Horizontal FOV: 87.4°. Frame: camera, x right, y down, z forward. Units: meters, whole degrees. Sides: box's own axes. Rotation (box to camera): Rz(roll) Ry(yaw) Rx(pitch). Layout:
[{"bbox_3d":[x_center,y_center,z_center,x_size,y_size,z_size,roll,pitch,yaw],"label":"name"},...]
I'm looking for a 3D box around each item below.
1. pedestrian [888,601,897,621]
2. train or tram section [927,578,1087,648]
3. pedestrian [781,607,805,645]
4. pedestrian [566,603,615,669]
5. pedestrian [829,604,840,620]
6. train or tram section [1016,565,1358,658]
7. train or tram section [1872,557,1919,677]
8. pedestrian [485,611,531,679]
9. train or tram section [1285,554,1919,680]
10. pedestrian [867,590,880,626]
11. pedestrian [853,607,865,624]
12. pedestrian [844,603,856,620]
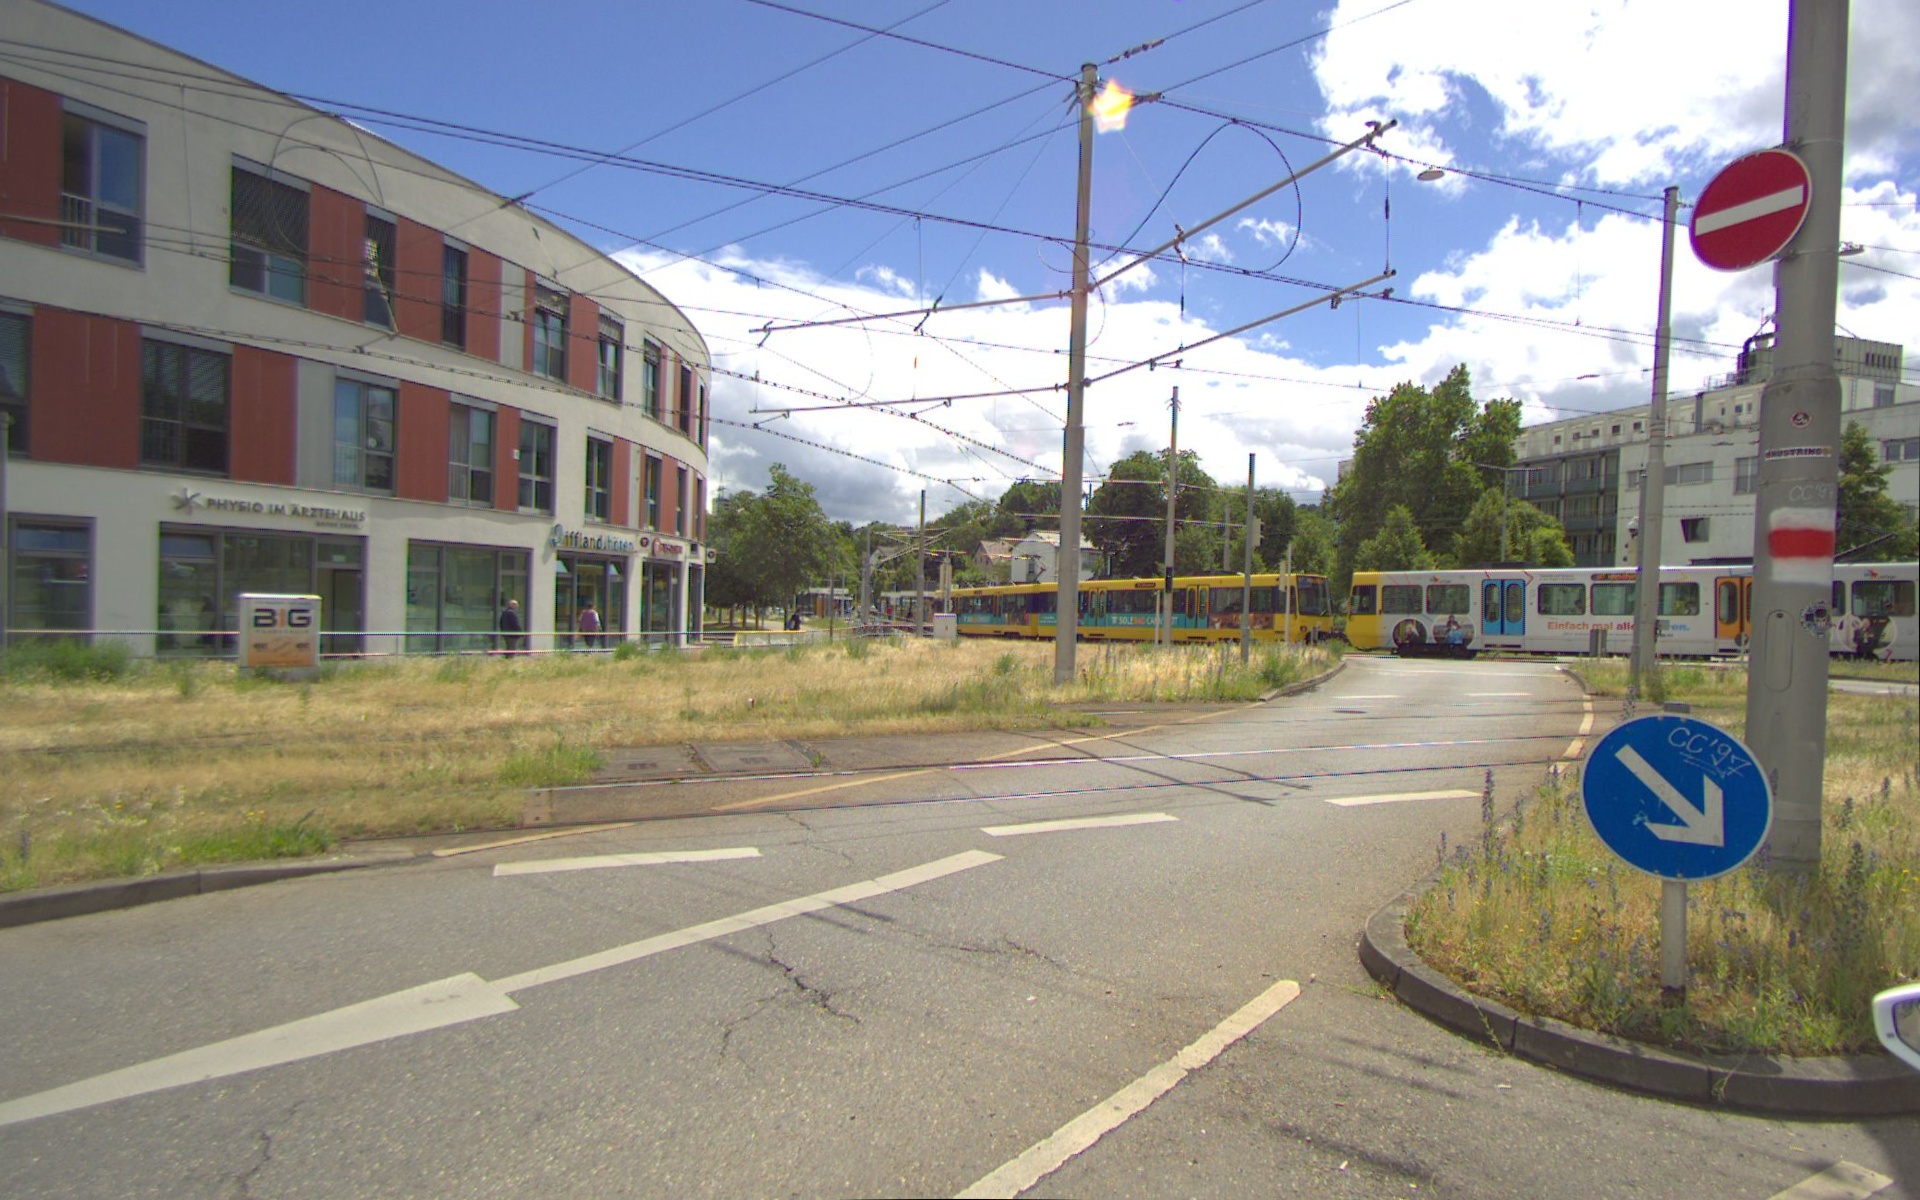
[{"bbox_3d":[-7.124,1.173,105.529,0.807,2.040,0.771,2,-1,-15],"label":"pedestrian"},{"bbox_3d":[2.513,0.941,67.871,3.705,3.970,18.809,2,-2,-20],"label":"train or tram section"},{"bbox_3d":[-7.465,1.166,44.969,0.847,1.646,0.733,1,-1,7],"label":"pedestrian"},{"bbox_3d":[-11.497,1.126,31.253,0.849,1.994,1.104,1,-1,30],"label":"pedestrian"},{"bbox_3d":[-16.715,1.610,133.600,1.241,2.040,1.121,2,-1,-19],"label":"pedestrian"},{"bbox_3d":[10.438,0.629,51.586,3.723,3.880,19.957,2,-2,-34],"label":"train or tram section"},{"bbox_3d":[40.535,0.751,30.649,19.643,3.864,3.764,1,-1,11],"label":"train or tram section"},{"bbox_3d":[-10.918,1.071,24.272,0.721,1.601,0.691,1,0,24],"label":"pedestrian"},{"bbox_3d":[23.188,0.545,38.260,20.283,3.930,3.752,0,-2,33],"label":"train or tram section"},{"bbox_3d":[-14.931,1.395,173.222,1.964,5.998,2.368,2,-1,-9],"label":"pedestrian"},{"bbox_3d":[-11.820,1.828,117.568,1.241,2.040,1.121,2,-1,-19],"label":"pedestrian"},{"bbox_3d":[-13.491,1.397,123.014,1.241,2.040,1.121,2,-1,-19],"label":"pedestrian"}]
